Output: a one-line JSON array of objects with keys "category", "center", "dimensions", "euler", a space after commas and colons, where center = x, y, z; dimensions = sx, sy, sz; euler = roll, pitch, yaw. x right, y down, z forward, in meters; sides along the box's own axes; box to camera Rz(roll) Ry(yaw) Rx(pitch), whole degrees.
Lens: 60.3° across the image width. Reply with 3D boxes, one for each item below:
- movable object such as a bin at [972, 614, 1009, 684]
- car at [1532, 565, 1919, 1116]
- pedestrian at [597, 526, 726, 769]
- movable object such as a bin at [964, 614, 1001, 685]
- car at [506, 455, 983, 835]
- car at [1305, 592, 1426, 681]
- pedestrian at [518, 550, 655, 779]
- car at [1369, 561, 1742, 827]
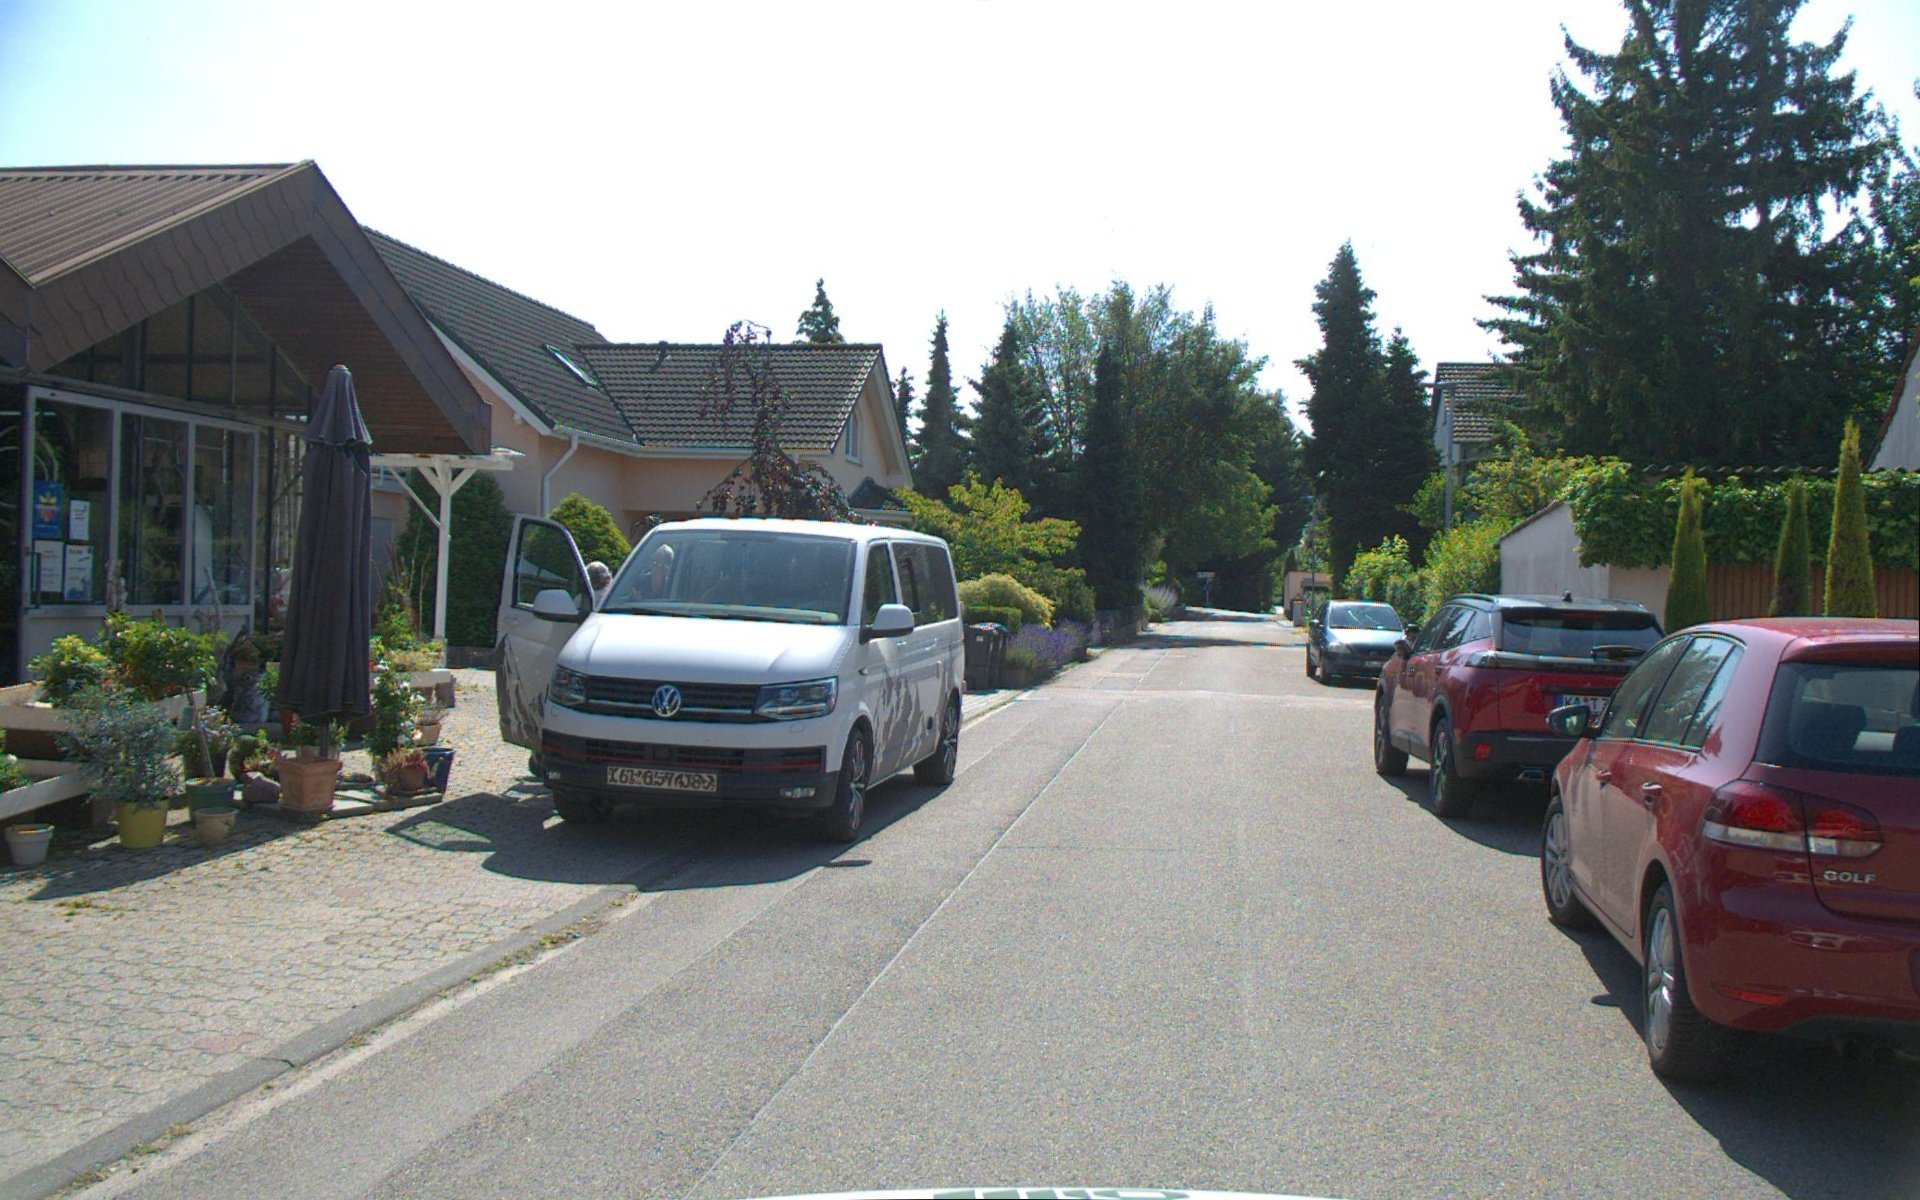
[{"category": "movable object such as a bin", "center": [0.466, 0.740, 25.071], "dimensions": [0.483, 1.042, 0.448], "euler": [1, 0, 9]}, {"category": "car", "center": [3.436, 0.711, 6.477], "dimensions": [1.738, 1.505, 4.003], "euler": [3, 0, 12]}, {"category": "pedestrian", "center": [-2.247, 0.335, 12.456], "dimensions": [0.679, 1.761, 0.638], "euler": [2, 1, 40]}, {"category": "movable object such as a bin", "center": [0.338, 0.733, 24.623], "dimensions": [0.483, 1.042, 0.448], "euler": [1, 0, 9]}, {"category": "car", "center": [-1.180, 0.239, 11.575], "dimensions": [1.887, 2.049, 4.900], "euler": [1, 0, 10]}, {"category": "car", "center": [7.206, 0.619, 29.684], "dimensions": [1.666, 1.424, 4.003], "euler": [2, 0, 8]}, {"category": "pedestrian", "center": [-2.674, 0.439, 11.850], "dimensions": [0.707, 1.565, 0.638], "euler": [2, 1, 43]}, {"category": "car", "center": [4.341, 0.604, 12.715], "dimensions": [1.784, 1.643, 4.003], "euler": [2, 0, 7]}]
